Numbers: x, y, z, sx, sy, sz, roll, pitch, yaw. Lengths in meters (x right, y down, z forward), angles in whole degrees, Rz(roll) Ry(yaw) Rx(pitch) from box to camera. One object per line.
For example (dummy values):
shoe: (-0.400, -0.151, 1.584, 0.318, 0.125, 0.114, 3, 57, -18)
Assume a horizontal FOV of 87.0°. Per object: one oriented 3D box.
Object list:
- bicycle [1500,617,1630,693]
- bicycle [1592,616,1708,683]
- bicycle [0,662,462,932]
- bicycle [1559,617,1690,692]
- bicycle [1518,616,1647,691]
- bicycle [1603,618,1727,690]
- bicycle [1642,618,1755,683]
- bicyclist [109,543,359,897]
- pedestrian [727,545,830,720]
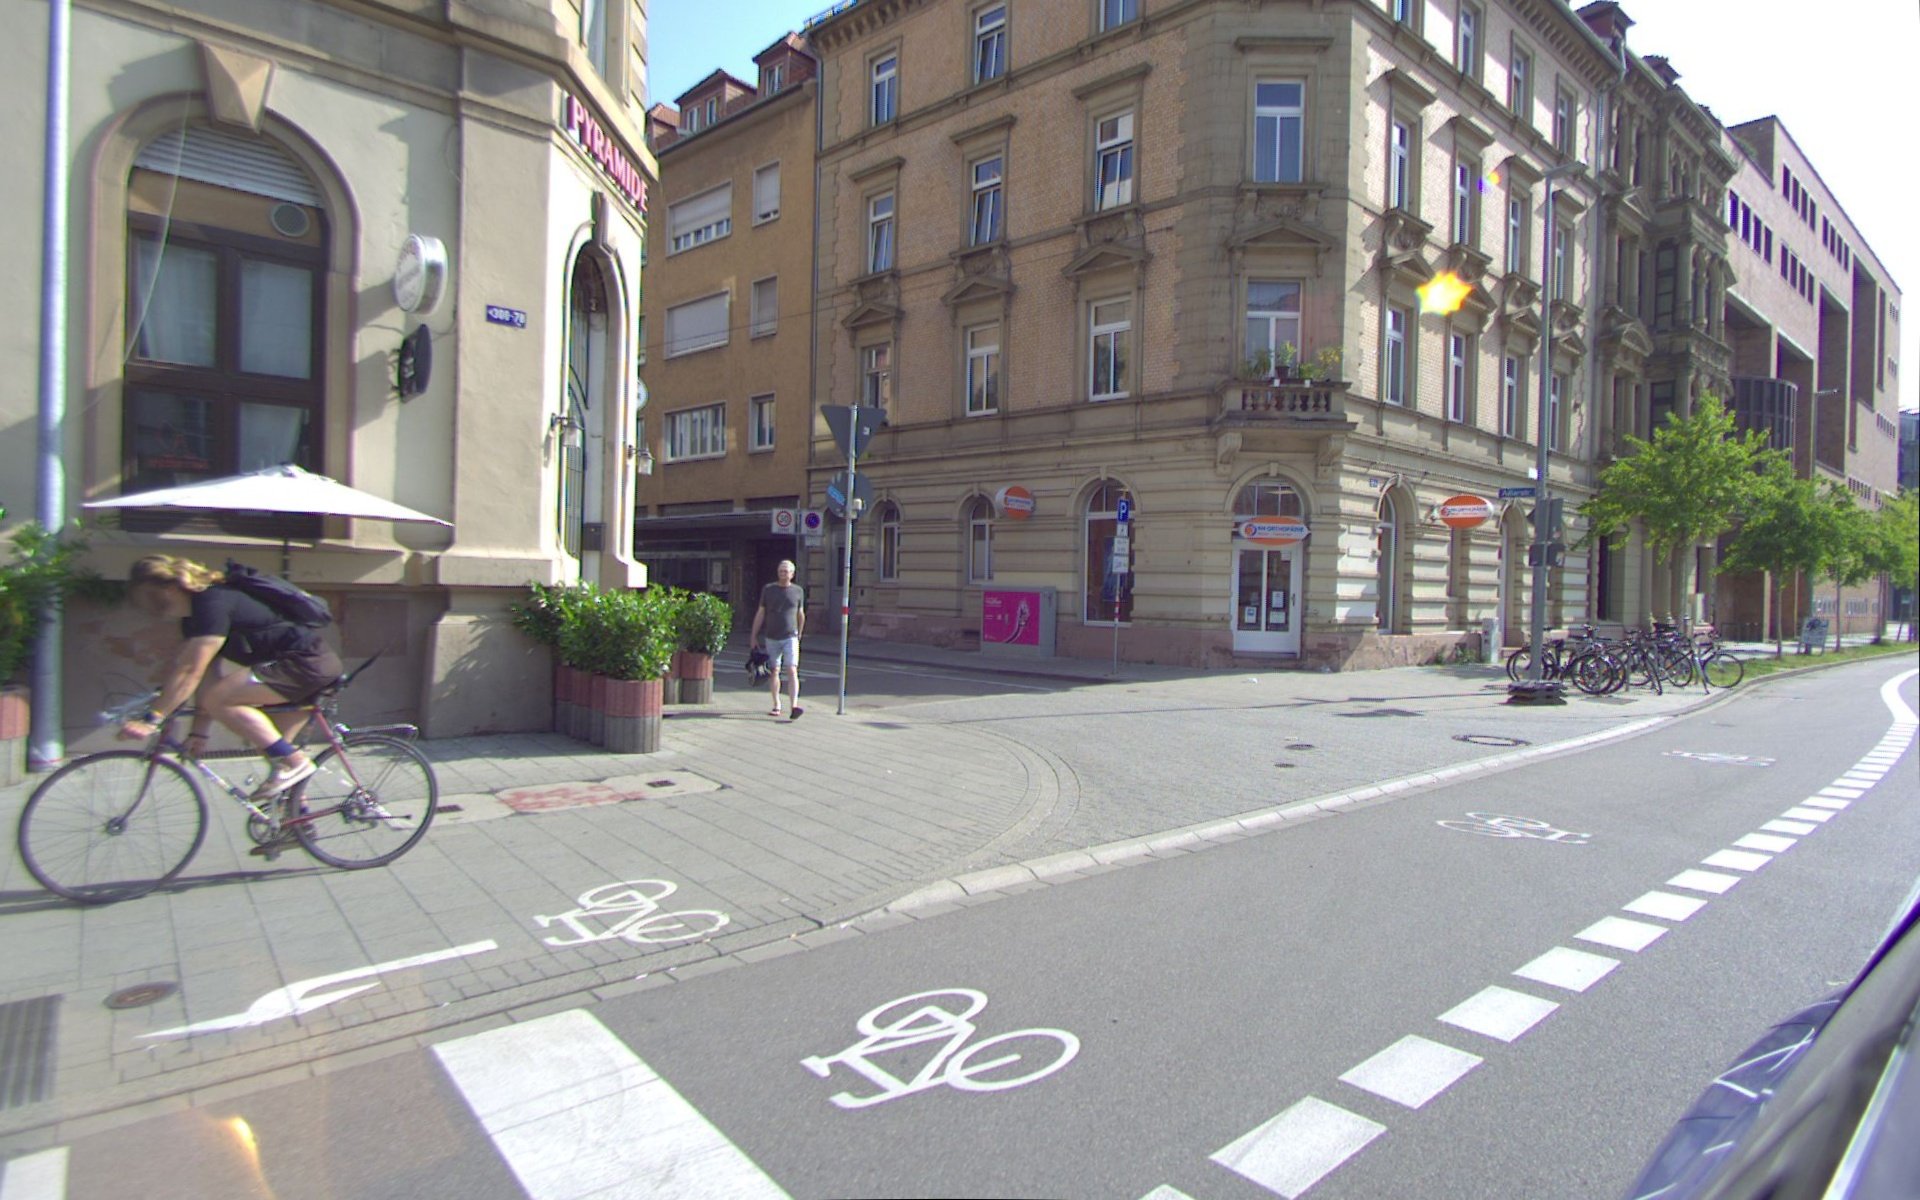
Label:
bicycle: (10.168, 0.895, 17.069, 0.572, 1.101, 1.758, 1, 2, -37)
bicycle: (13.583, 0.949, 19.953, 1.755, 1.100, 0.648, 6, 4, 41)
bicycle: (-3.391, 0.846, 4.829, 1.753, 0.965, 0.506, -1, 3, -40)
bicycle: (11.794, 0.939, 18.013, 0.656, 1.100, 1.762, 1, 3, -35)
bicycle: (10.667, 0.892, 17.393, 0.572, 1.101, 1.758, 1, 2, -37)
bicycle: (13.056, 0.979, 18.802, 1.745, 1.100, 0.666, 5, 3, 28)
bicycle: (14.996, 1.003, 20.582, 1.755, 1.100, 0.602, 6, 4, 41)
bicyclist: (-3.425, 0.496, 4.798, 0.915, 1.500, 0.585, 0, 3, -40)
pedestrian: (-2.002, 0.346, 11.325, 0.973, 1.829, 0.865, 3, 0, -5)
